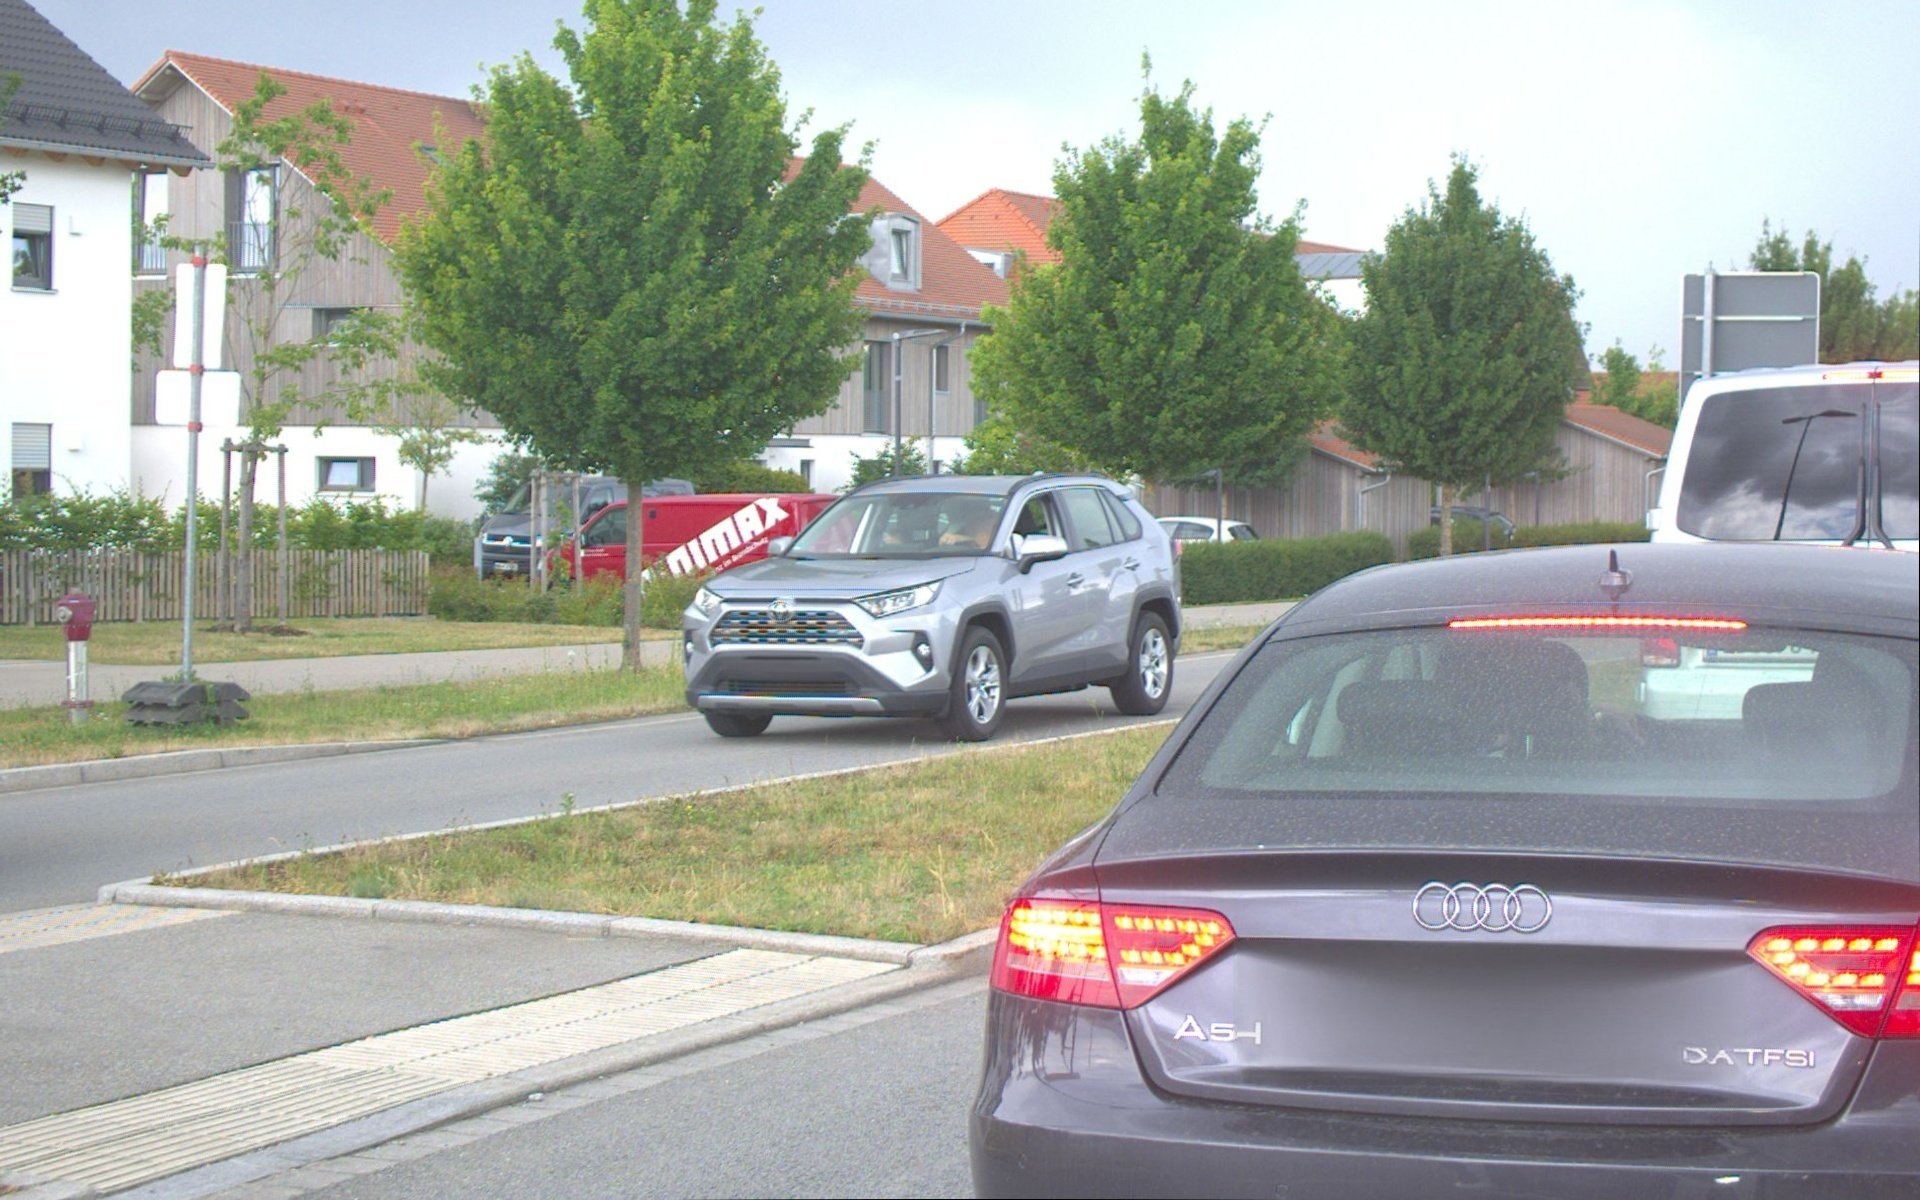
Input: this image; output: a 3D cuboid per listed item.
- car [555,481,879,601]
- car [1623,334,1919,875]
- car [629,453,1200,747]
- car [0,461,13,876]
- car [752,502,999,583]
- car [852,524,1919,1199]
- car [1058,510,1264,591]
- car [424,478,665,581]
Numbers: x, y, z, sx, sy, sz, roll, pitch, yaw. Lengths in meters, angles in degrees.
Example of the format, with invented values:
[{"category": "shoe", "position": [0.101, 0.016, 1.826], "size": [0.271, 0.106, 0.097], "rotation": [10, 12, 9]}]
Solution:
[{"category": "car", "position": [-3.695, -0.926, 52.100], "size": [4.538, 1.674, 1.997], "rotation": [2, 2, 29]}, {"category": "car", "position": [4.079, -0.039, 14.144], "size": [1.869, 1.927, 3.996], "rotation": [2, 2, 22]}, {"category": "car", "position": [-0.156, -0.080, 22.402], "size": [1.996, 1.698, 4.629], "rotation": [1, 2, 23]}, {"category": "car", "position": [-5.562, 0.313, 11.976], "size": [1.711, 1.620, 4.443], "rotation": [1, 2, 30]}, {"category": "car", "position": [-1.486, -1.026, 60.457], "size": [3.919, 1.310, 1.840], "rotation": [2, 2, 24]}, {"category": "car", "position": [1.440, 0.571, 6.348], "size": [1.786, 1.386, 4.128], "rotation": [1, 2, 22]}, {"category": "car", "position": [4.008, -1.006, 68.537], "size": [3.734, 1.476, 1.684], "rotation": [2, 3, 23]}, {"category": "car", "position": [-7.454, -1.283, 62.105], "size": [1.997, 1.765, 4.458], "rotation": [2, 2, 31]}]
